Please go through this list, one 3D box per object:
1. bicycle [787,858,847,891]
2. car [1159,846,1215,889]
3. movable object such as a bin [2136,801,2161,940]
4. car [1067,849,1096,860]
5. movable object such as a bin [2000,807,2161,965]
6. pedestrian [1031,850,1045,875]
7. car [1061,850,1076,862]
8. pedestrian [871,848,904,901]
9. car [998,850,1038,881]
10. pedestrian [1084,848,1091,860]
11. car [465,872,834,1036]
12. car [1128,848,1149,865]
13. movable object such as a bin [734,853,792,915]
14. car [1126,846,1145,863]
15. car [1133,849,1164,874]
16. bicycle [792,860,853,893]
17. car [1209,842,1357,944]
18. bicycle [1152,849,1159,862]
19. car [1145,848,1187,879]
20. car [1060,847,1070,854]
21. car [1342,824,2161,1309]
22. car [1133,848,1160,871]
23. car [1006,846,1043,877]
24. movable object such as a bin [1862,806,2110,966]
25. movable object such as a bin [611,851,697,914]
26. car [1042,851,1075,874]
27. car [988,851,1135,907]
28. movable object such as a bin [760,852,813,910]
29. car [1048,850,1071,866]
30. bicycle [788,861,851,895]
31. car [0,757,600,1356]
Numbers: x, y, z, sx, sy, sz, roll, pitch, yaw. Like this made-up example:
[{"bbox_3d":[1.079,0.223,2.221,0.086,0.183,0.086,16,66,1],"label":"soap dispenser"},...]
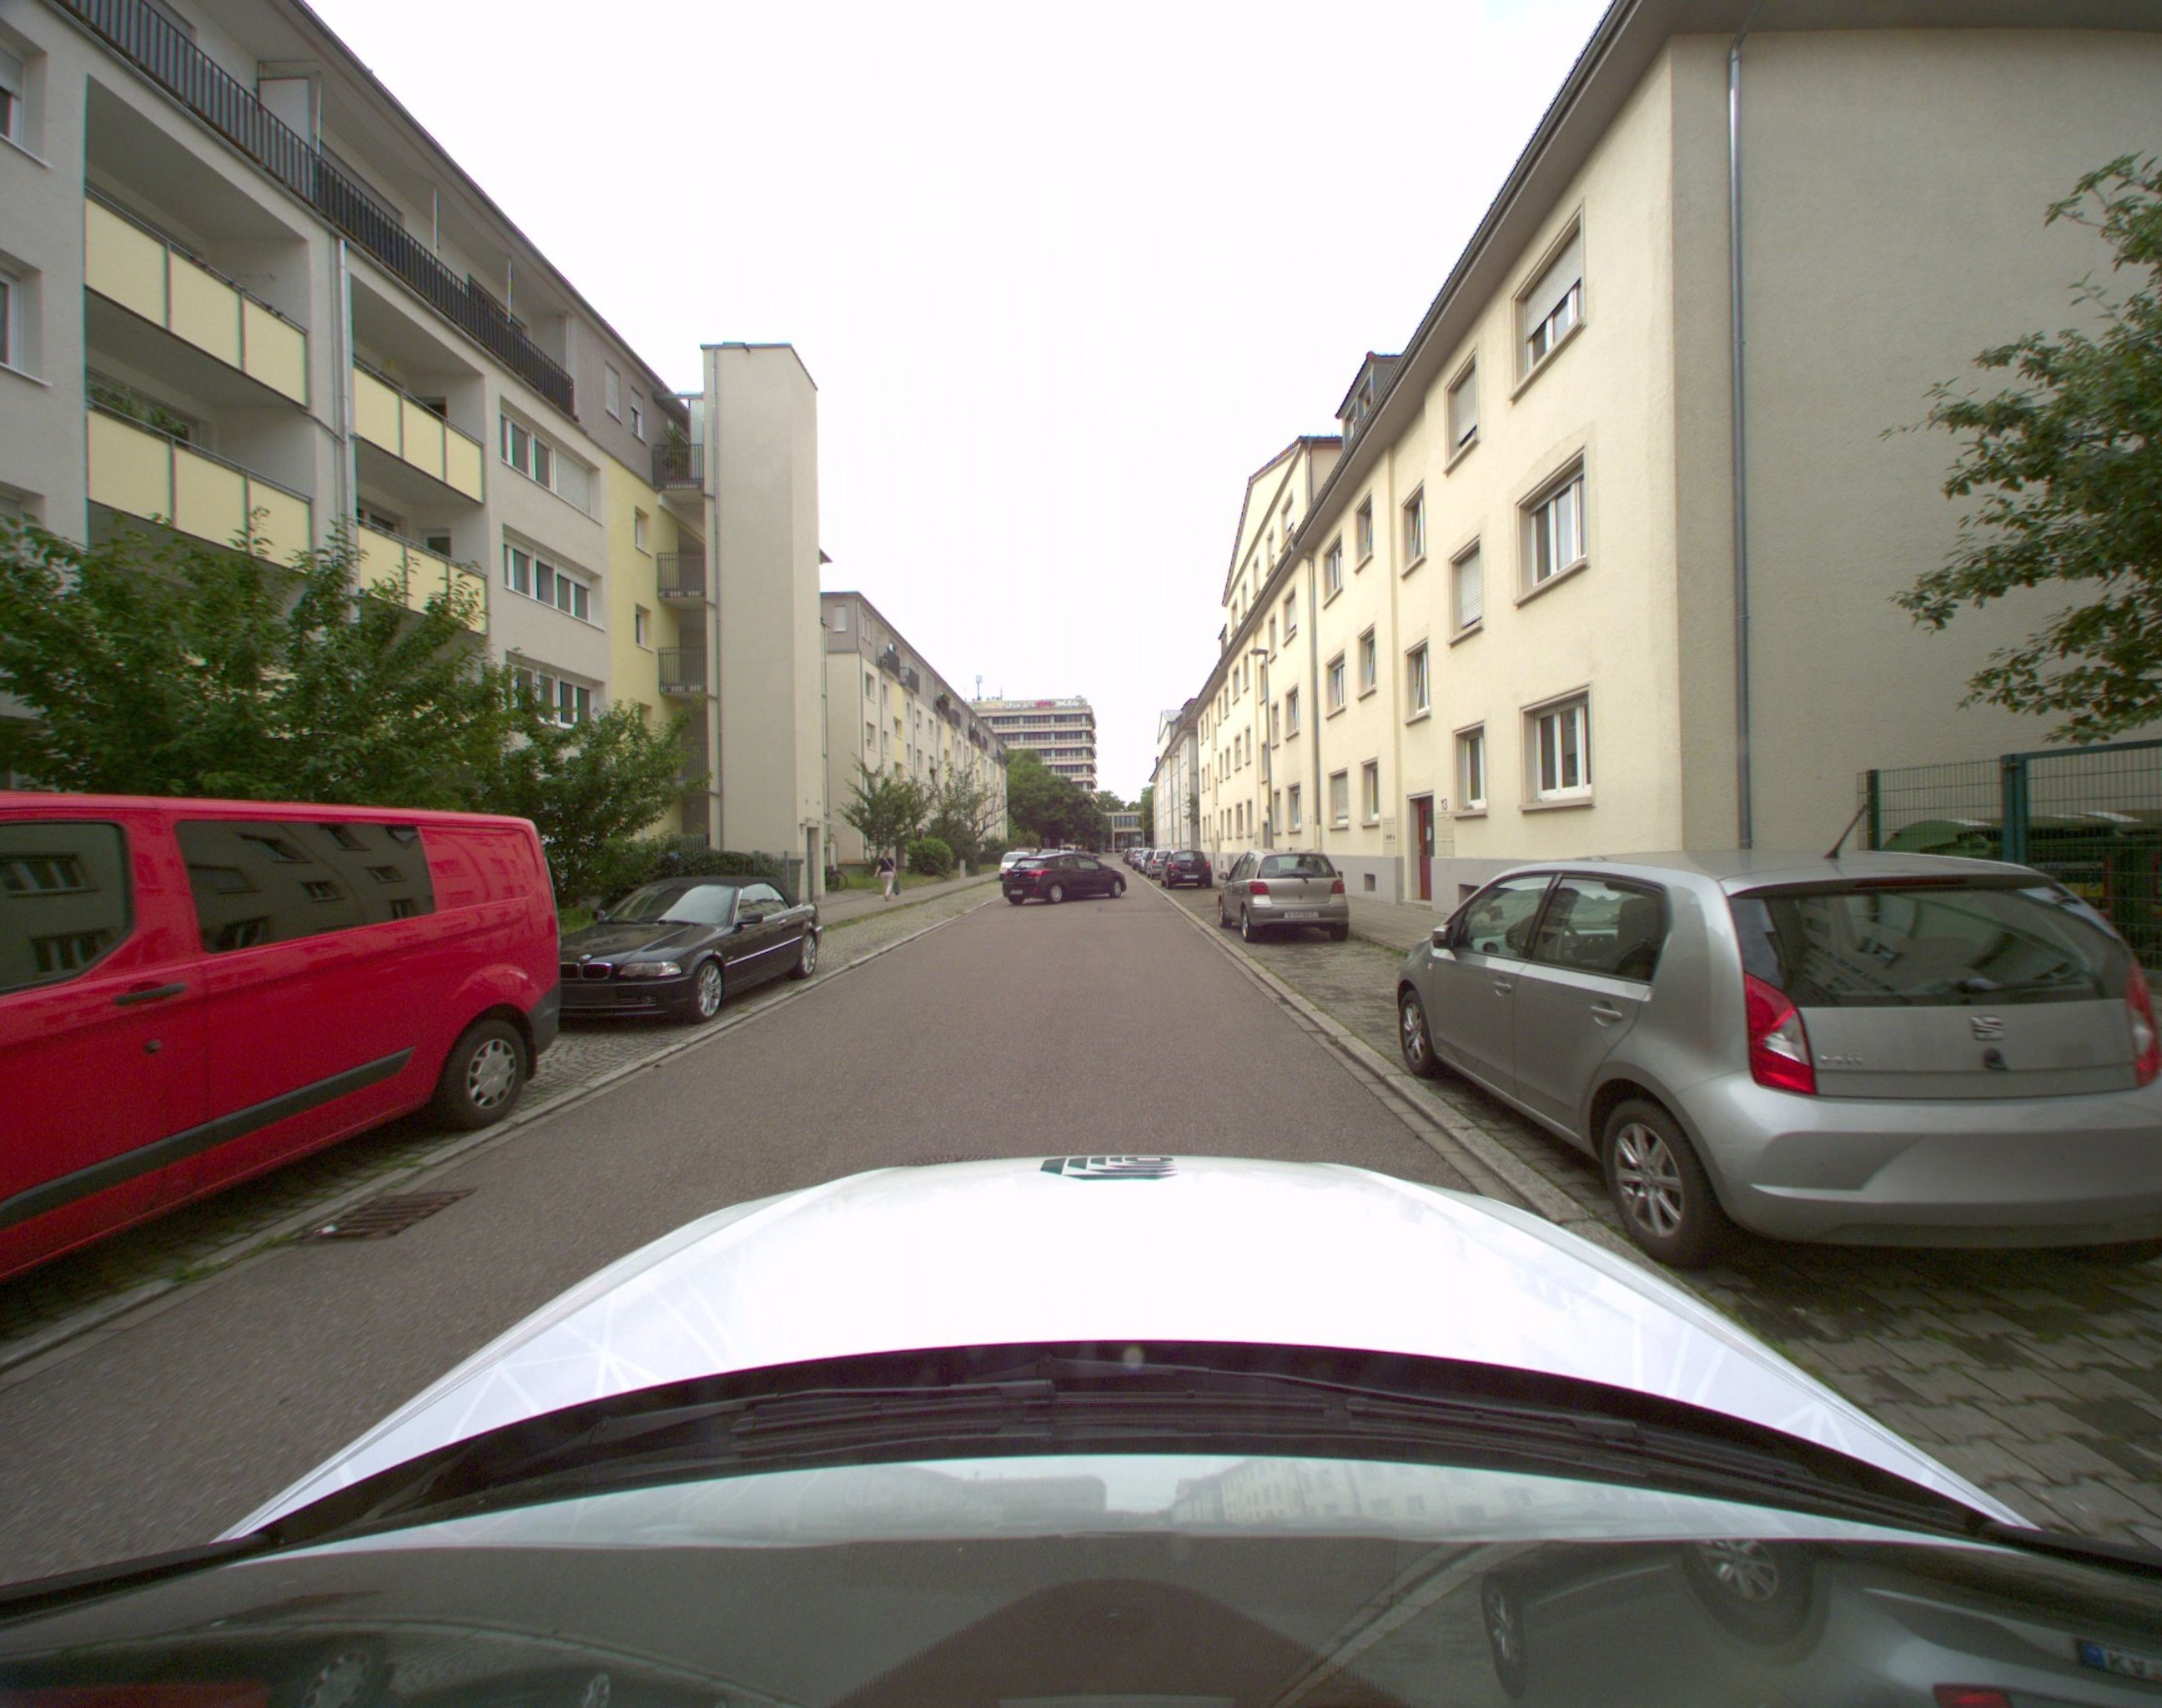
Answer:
[{"bbox_3d":[-9.891,0.757,30.506,2.017,1.141,0.623,-1,0,-2],"label":"bicycle"},{"bbox_3d":[4.010,0.472,31.352,1.719,1.517,4.062,-1,0,1],"label":"car"},{"bbox_3d":[11.757,0.160,8.050,1.157,1.443,1.150,-2,0,1],"label":"movable object such as a bin"},{"bbox_3d":[0.060,0.044,116.299,4.130,1.497,1.810,-2,0,0],"label":"car"},{"bbox_3d":[10.298,0.274,8.032,1.157,1.443,1.150,-2,0,1],"label":"movable object such as a bin"},{"bbox_3d":[-2.895,0.574,55.077,0.742,1.701,0.792,-2,0,-16],"label":"pedestrian"},{"bbox_3d":[-1.607,0.235,105.403,1.987,1.541,3.999,0,0,-1],"label":"car"},{"bbox_3d":[-6.069,0.629,25.603,0.797,1.610,0.946,-2,0,-3],"label":"pedestrian"},{"bbox_3d":[-3.334,0.564,43.967,1.714,1.570,3.872,1,0,2],"label":"car"},{"bbox_3d":[0.939,-0.024,121.937,0.968,1.654,0.981,-2,0,1],"label":"pedestrian"},{"bbox_3d":[-4.460,0.927,9.352,1.864,1.323,4.362,0,0,0],"label":"car"},{"bbox_3d":[5.442,0.234,77.282,1.813,1.503,4.094,-1,0,3],"label":"car"},{"bbox_3d":[-7.624,0.704,19.565,0.800,1.429,1.289,0,0,4],"label":"movable object such as a bin"},{"bbox_3d":[5.459,0.036,81.900,1.813,1.603,4.094,-2,0,3],"label":"car"},{"bbox_3d":[4.277,0.448,52.124,1.718,1.476,4.507,-1,0,2],"label":"car"},{"bbox_3d":[-9.393,0.801,29.623,2.022,1.141,0.621,-1,0,-9],"label":"bicycle"},{"bbox_3d":[3.441,0.595,14.632,1.719,1.517,4.062,-2,0,1],"label":"car"},{"bbox_3d":[6.892,0.135,75.508,0.527,1.175,2.041,-2,0,8],"label":"bicycle"},{"bbox_3d":[4.314,0.456,41.721,1.842,1.450,3.835,-1,0,2],"label":"car"},{"bbox_3d":[-3.191,-0.745,163.693,1.659,1.333,3.397,-1,1,2],"label":"car"},{"bbox_3d":[2.936,0.651,4.577,1.719,1.492,4.062,-1,0,1],"label":"car"},{"bbox_3d":[4.856,0.367,60.887,1.813,1.642,4.094,-1,0,3],"label":"car"},{"bbox_3d":[-3.424,0.428,49.932,1.950,1.770,4.360,0,0,-1],"label":"car"},{"bbox_3d":[8.869,0.287,8.061,1.157,1.443,1.150,-2,0,1],"label":"movable object such as a bin"},{"bbox_3d":[-10.324,0.668,19.753,1.347,1.464,1.372,0,0,0],"label":"movable object such as a bin"},{"bbox_3d":[-1.495,0.540,55.272,1.837,1.451,4.505,-1,0,3],"label":"car"},{"bbox_3d":[-0.506,0.692,24.462,1.885,1.433,4.258,-2,0,45],"label":"car"},{"bbox_3d":[-7.539,0.671,20.886,0.800,1.429,1.290,0,0,5],"label":"movable object such as a bin"},{"bbox_3d":[-2.039,0.364,78.596,1.888,1.452,4.523,1,0,2],"label":"car"},{"bbox_3d":[-9.289,0.843,28.998,2.021,1.141,0.621,-1,0,-8],"label":"bicycle"},{"bbox_3d":[-4.596,0.647,3.486,2.145,1.954,4.920,1,0,-1],"label":"car"}]
